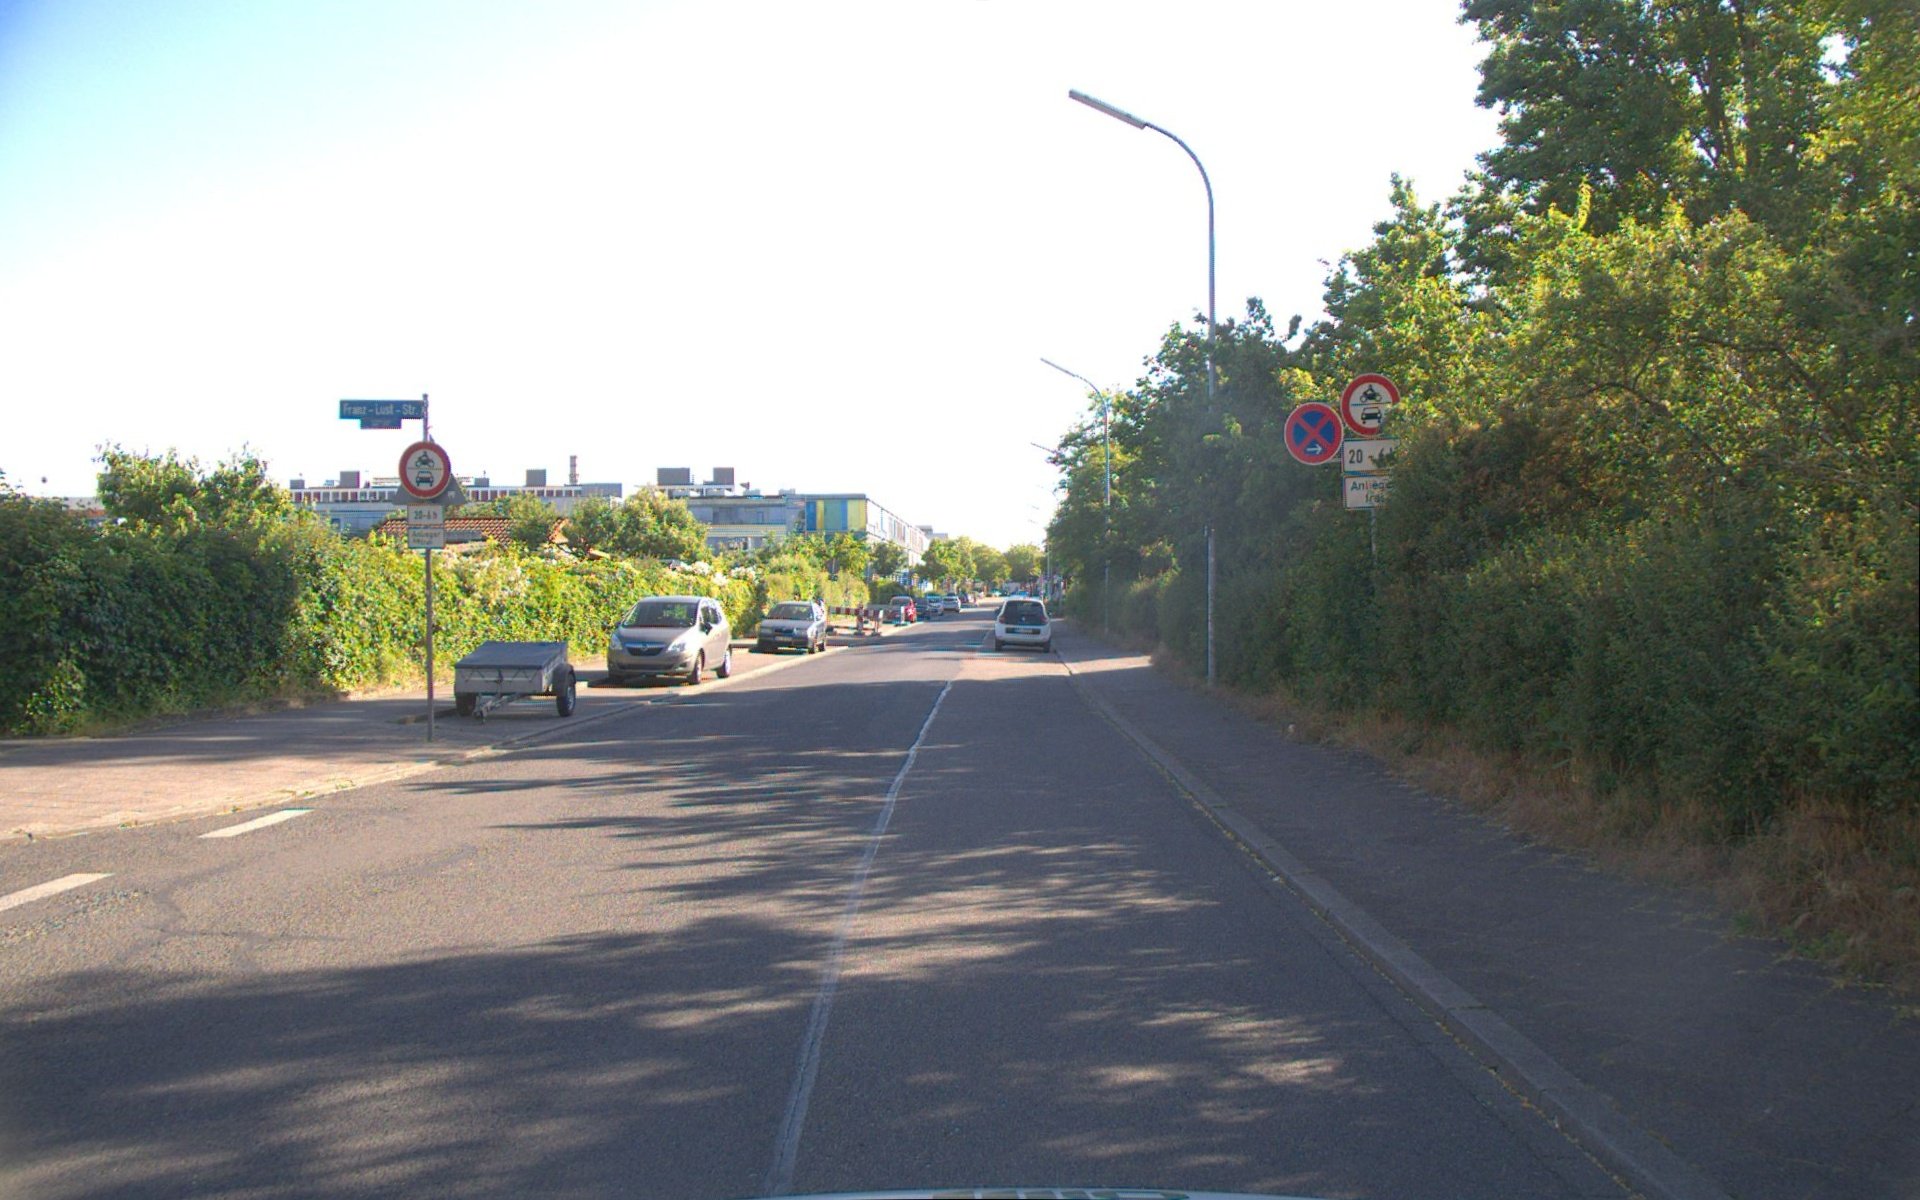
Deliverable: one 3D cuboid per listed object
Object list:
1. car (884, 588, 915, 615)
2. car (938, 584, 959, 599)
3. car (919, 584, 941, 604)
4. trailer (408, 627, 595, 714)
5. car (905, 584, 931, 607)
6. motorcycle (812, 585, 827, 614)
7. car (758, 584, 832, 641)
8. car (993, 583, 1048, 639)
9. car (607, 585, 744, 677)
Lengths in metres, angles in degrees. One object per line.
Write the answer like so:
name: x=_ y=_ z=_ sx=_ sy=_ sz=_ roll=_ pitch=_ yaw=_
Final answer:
car: x=-3.488 y=0.053 z=96.114 sx=1.527 sy=1.521 sz=3.571 roll=-1 pitch=0 yaw=2
car: x=-1.087 y=-0.814 z=160.758 sx=1.816 sy=1.453 sz=4.135 roll=1 pitch=0 yaw=2
car: x=-2.354 y=-0.493 z=131.402 sx=1.527 sy=1.521 sz=3.759 roll=-1 pitch=0 yaw=2
trailer: x=-5.860 y=0.874 z=21.403 sx=1.511 sy=0.970 sz=2.648 roll=1 pitch=0 yaw=4
car: x=-2.876 y=-0.295 z=114.361 sx=1.527 sy=1.521 sz=3.571 roll=2 pitch=0 yaw=2
motorcycle: x=-6.402 y=-0.037 z=75.237 sx=0.555 sy=1.290 sz=2.090 roll=1 pitch=0 yaw=-2
car: x=-4.869 y=0.342 z=49.292 sx=1.609 sy=1.583 sz=4.419 roll=-1 pitch=0 yaw=2
car: x=1.801 y=0.312 z=49.248 sx=1.523 sy=1.565 sz=3.557 roll=2 pitch=0 yaw=2
car: x=-5.383 y=0.533 z=31.779 sx=1.609 sy=1.628 sz=4.314 roll=1 pitch=1 yaw=4
